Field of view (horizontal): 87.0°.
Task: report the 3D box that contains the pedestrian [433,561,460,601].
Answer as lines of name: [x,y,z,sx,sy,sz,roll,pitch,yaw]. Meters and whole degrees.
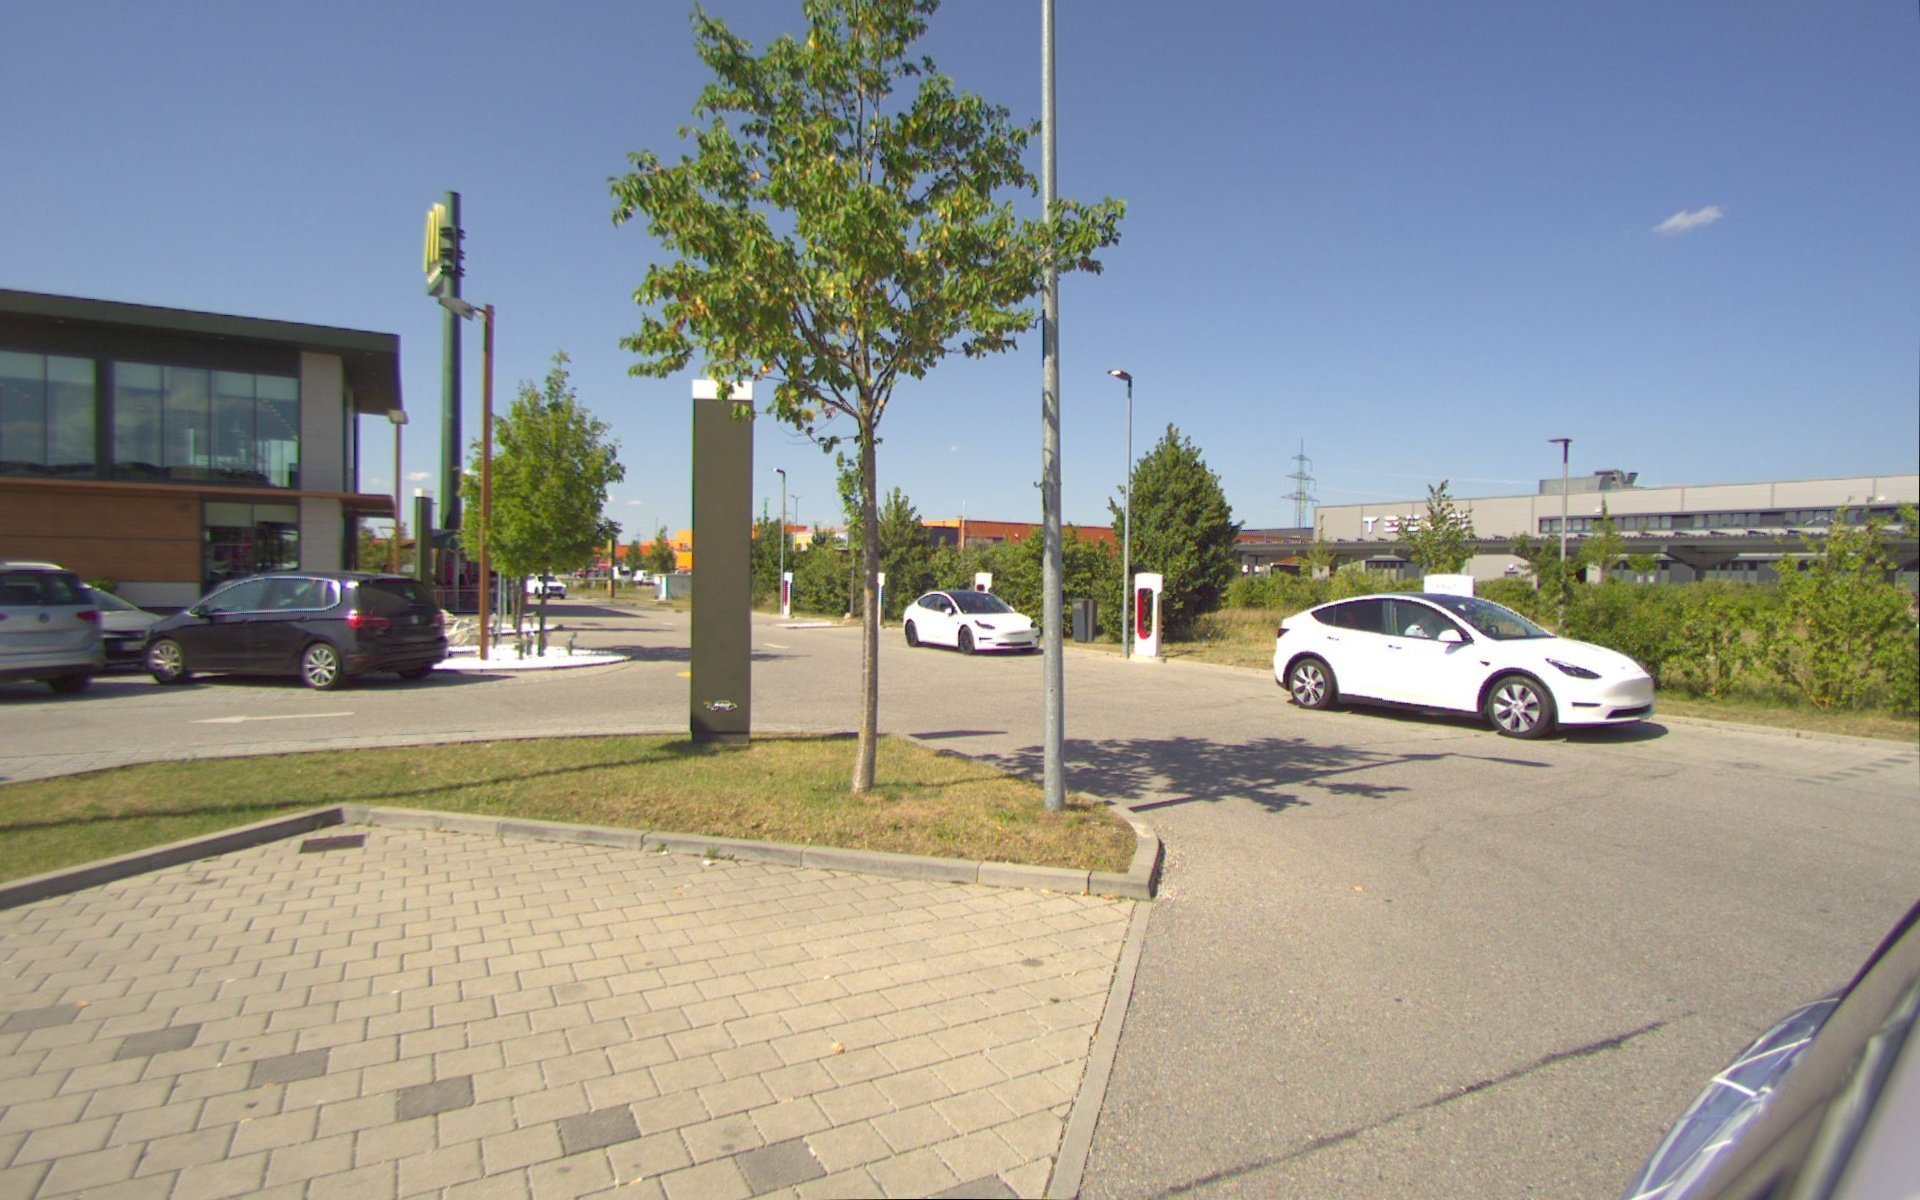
pedestrian: [-20.561,-0.747,40.491,0.696,1.579,0.714,0,0,32]

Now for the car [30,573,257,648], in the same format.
car: [-19.320,0.201,24.185,1.692,1.633,4.018,0,1,14]

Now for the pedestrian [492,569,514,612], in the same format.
pedestrian: [-17.234,-0.360,38.175,0.687,1.579,0.723,0,1,-29]

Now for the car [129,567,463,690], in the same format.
car: [-9.282,0.338,14.244,3.940,1.571,1.747,0,0,14]

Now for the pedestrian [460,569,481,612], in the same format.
pedestrian: [-18.050,-0.354,37.310,0.687,1.579,0.723,0,1,-29]

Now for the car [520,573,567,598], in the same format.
car: [-27.607,-0.967,67.041,1.734,1.581,3.876,0,1,-42]

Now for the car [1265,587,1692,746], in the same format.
car: [6.320,0.664,12.935,1.806,1.613,4.579,0,1,-32]

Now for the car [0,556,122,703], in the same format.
car: [-12.871,0.311,12.636,4.058,1.695,1.804,0,1,17]

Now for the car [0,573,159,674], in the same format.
car: [-15.745,0.309,16.572,4.581,1.505,1.886,1,1,17]

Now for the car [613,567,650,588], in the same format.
car: [-39.148,-2.665,120.579,3.921,2.332,2.001,0,0,-32]

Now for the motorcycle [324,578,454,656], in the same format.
motorcycle: [-10.236,0.282,18.147,2.129,1.341,0.762,1,1,16]

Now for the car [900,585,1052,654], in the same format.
car: [0.284,0.401,24.541,1.805,1.497,4.339,0,1,-28]

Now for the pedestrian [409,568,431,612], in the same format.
pedestrian: [-19.605,-0.357,36.761,0.687,1.579,0.723,0,1,-29]
